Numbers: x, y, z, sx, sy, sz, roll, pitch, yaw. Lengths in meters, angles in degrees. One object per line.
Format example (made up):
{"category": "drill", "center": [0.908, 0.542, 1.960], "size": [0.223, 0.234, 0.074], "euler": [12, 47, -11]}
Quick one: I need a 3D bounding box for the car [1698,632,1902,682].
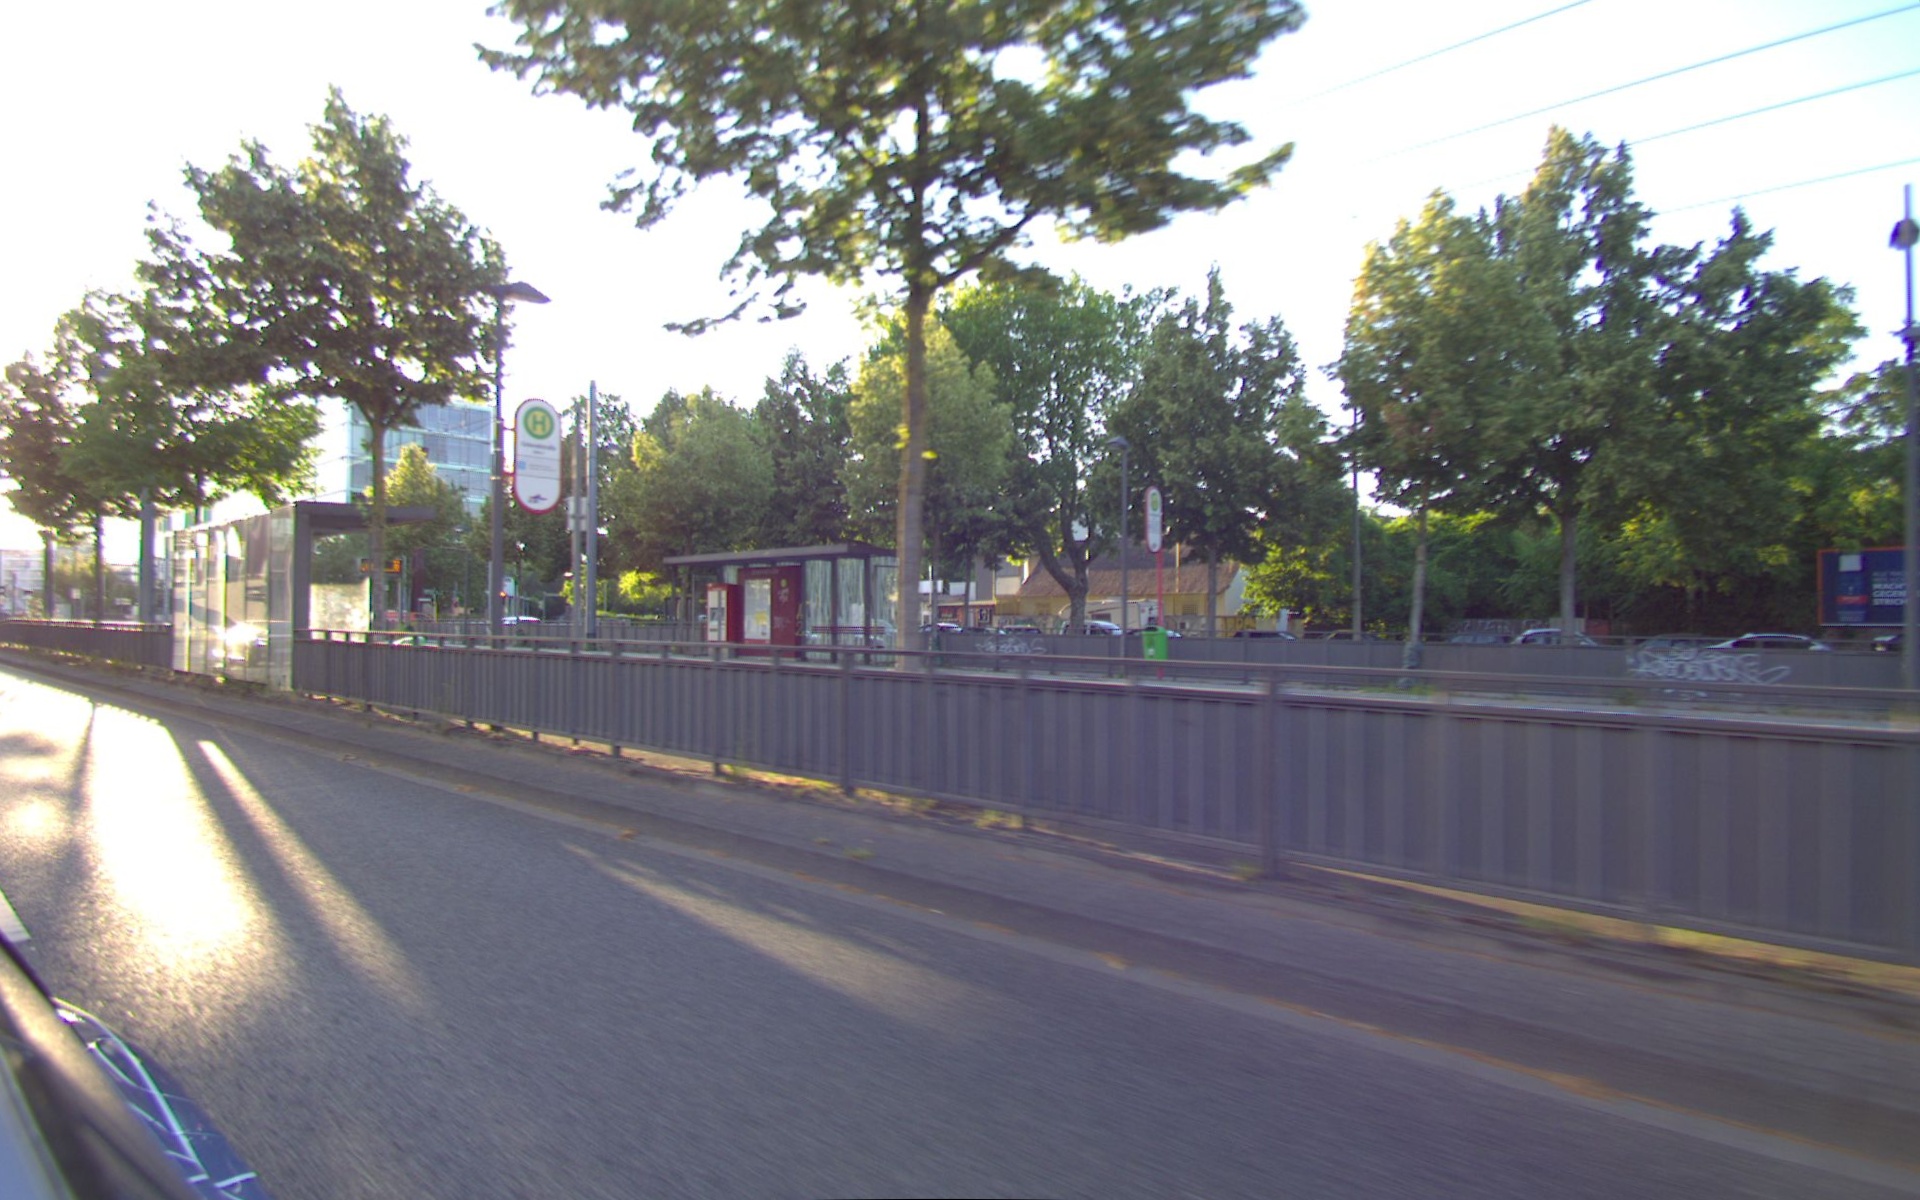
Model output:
{"category": "car", "center": [22.547, 1.486, 27.261], "size": [4.089, 1.210, 1.972], "euler": [-1, -2, 43]}

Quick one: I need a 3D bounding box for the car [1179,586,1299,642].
{"category": "car", "center": [10.691, 0.549, 38.966], "size": [4.001, 2.029, 1.971], "euler": [-1, -2, 44]}

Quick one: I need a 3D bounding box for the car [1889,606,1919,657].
{"category": "car", "center": [31.312, 0.974, 31.063], "size": [1.970, 1.564, 4.003], "euler": [1, -2, -44]}

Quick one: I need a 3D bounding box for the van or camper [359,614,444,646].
{"category": "van or camper", "center": [-38.863, 2.086, 70.529], "size": [2.000, 2.029, 4.820], "euler": [-1, 0, 42]}

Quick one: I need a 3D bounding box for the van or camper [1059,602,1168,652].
{"category": "van or camper", "center": [8.267, 1.452, 54.954], "size": [2.363, 2.583, 5.639], "euler": [1, -2, -43]}

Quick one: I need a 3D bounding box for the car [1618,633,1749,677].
{"category": "car", "center": [25.953, 1.921, 36.370], "size": [3.658, 1.459, 1.701], "euler": [-1, -2, 42]}

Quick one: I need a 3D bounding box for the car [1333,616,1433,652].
{"category": "car", "center": [18.573, 1.490, 44.543], "size": [1.803, 1.512, 3.647], "euler": [1, -2, -44]}

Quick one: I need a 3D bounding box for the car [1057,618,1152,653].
{"category": "car", "center": [6.637, 1.595, 46.766], "size": [1.970, 1.541, 4.003], "euler": [1, -2, -44]}

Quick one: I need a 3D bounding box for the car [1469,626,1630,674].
{"category": "car", "center": [18.365, 1.511, 31.625], "size": [4.001, 1.418, 1.971], "euler": [-1, -2, 44]}
